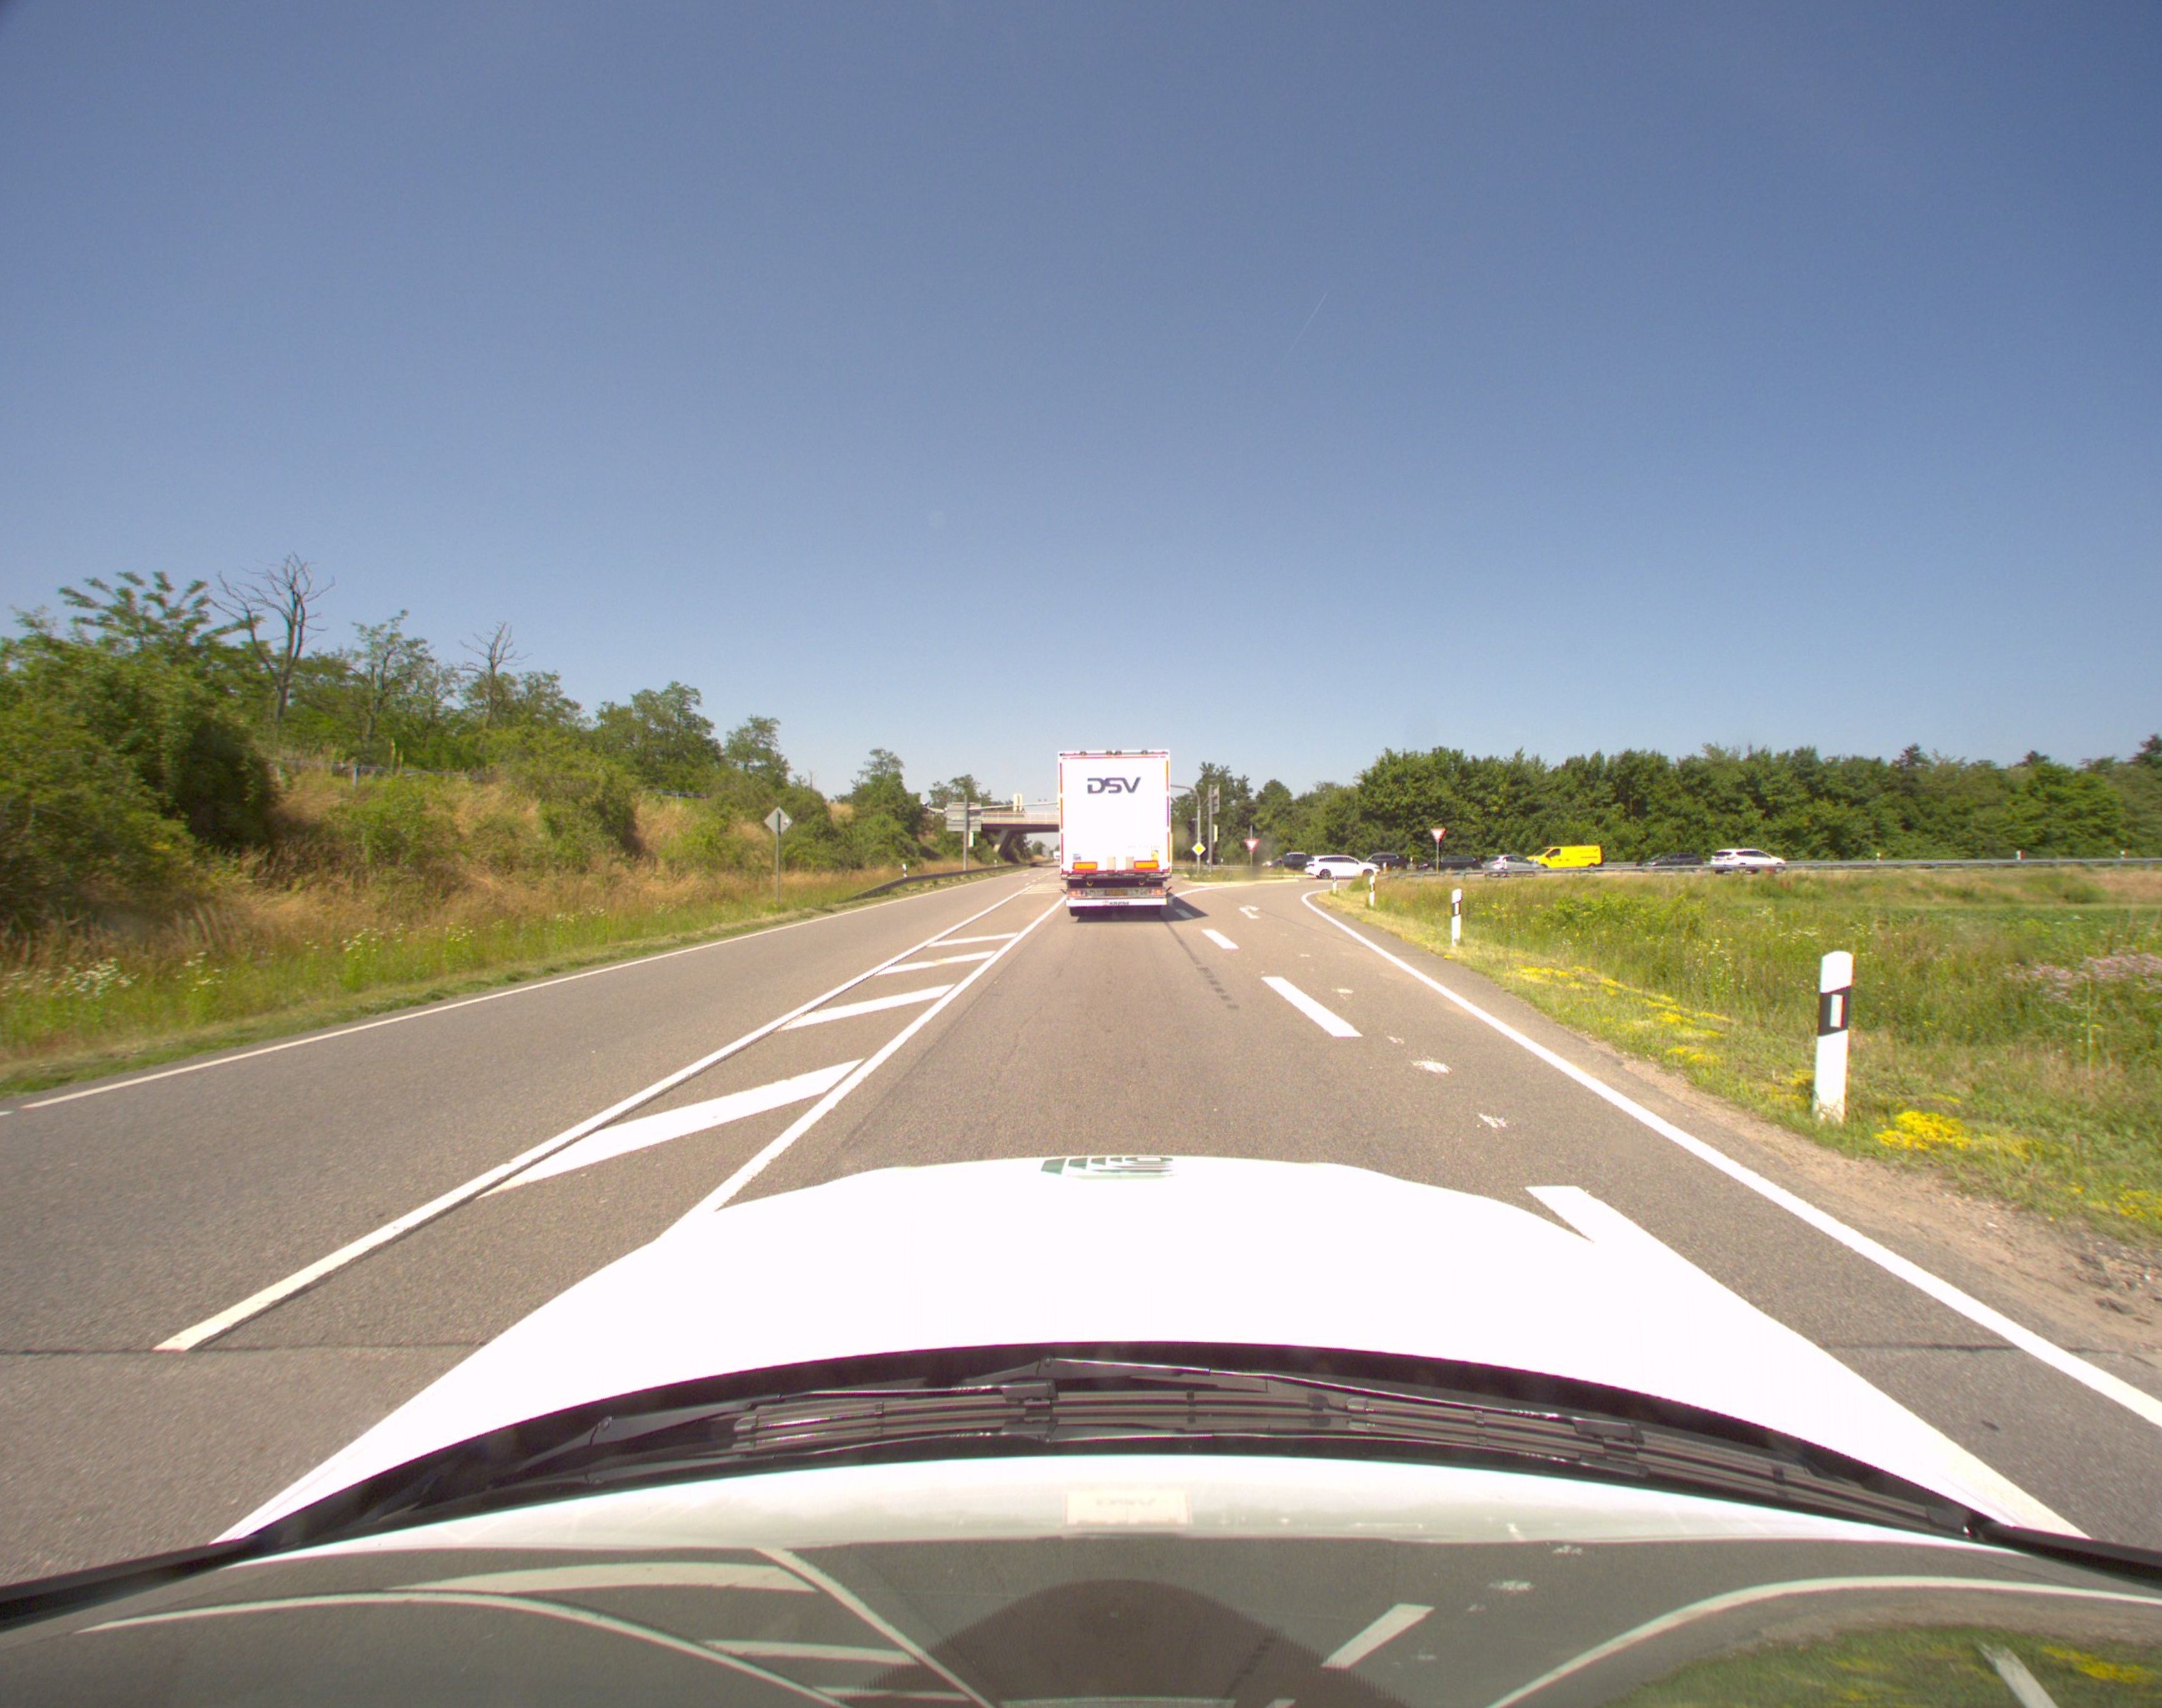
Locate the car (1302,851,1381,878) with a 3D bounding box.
[{"bbox_3d":[16.348,0.662,51.219,4.446,1.567,1.742,-2,-1,6],"label":"car"}]

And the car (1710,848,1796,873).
[{"bbox_3d":[44.289,0.440,53.742,4.462,1.567,1.736,-1,-1,-6],"label":"car"}]

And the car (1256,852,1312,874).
[{"bbox_3d":[15.482,0.684,62.298,3.963,1.640,1.845,-1,-1,8],"label":"car"}]

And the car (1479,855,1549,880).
[{"bbox_3d":[28.092,0.852,52.903,3.678,1.567,1.735,-1,-1,-7],"label":"car"}]

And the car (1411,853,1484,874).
[{"bbox_3d":[27.482,0.732,61.187,4.654,1.514,1.858,-1,-1,9],"label":"car"}]

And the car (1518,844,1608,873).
[{"bbox_3d":[34.897,0.350,59.102,5.299,2.014,2.002,-1,-1,3],"label":"car"}]

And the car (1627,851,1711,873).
[{"bbox_3d":[42.440,0.563,58.876,4.660,1.514,1.855,-1,-1,4],"label":"car"}]

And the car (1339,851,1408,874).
[{"bbox_3d":[21.502,0.654,60.025,4.465,1.598,1.770,-1,-1,5],"label":"car"}]

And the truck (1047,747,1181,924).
[{"bbox_3d":[0.917,-0.377,23.301,2.976,3.942,9.880,-1,-1,2],"label":"truck"}]
